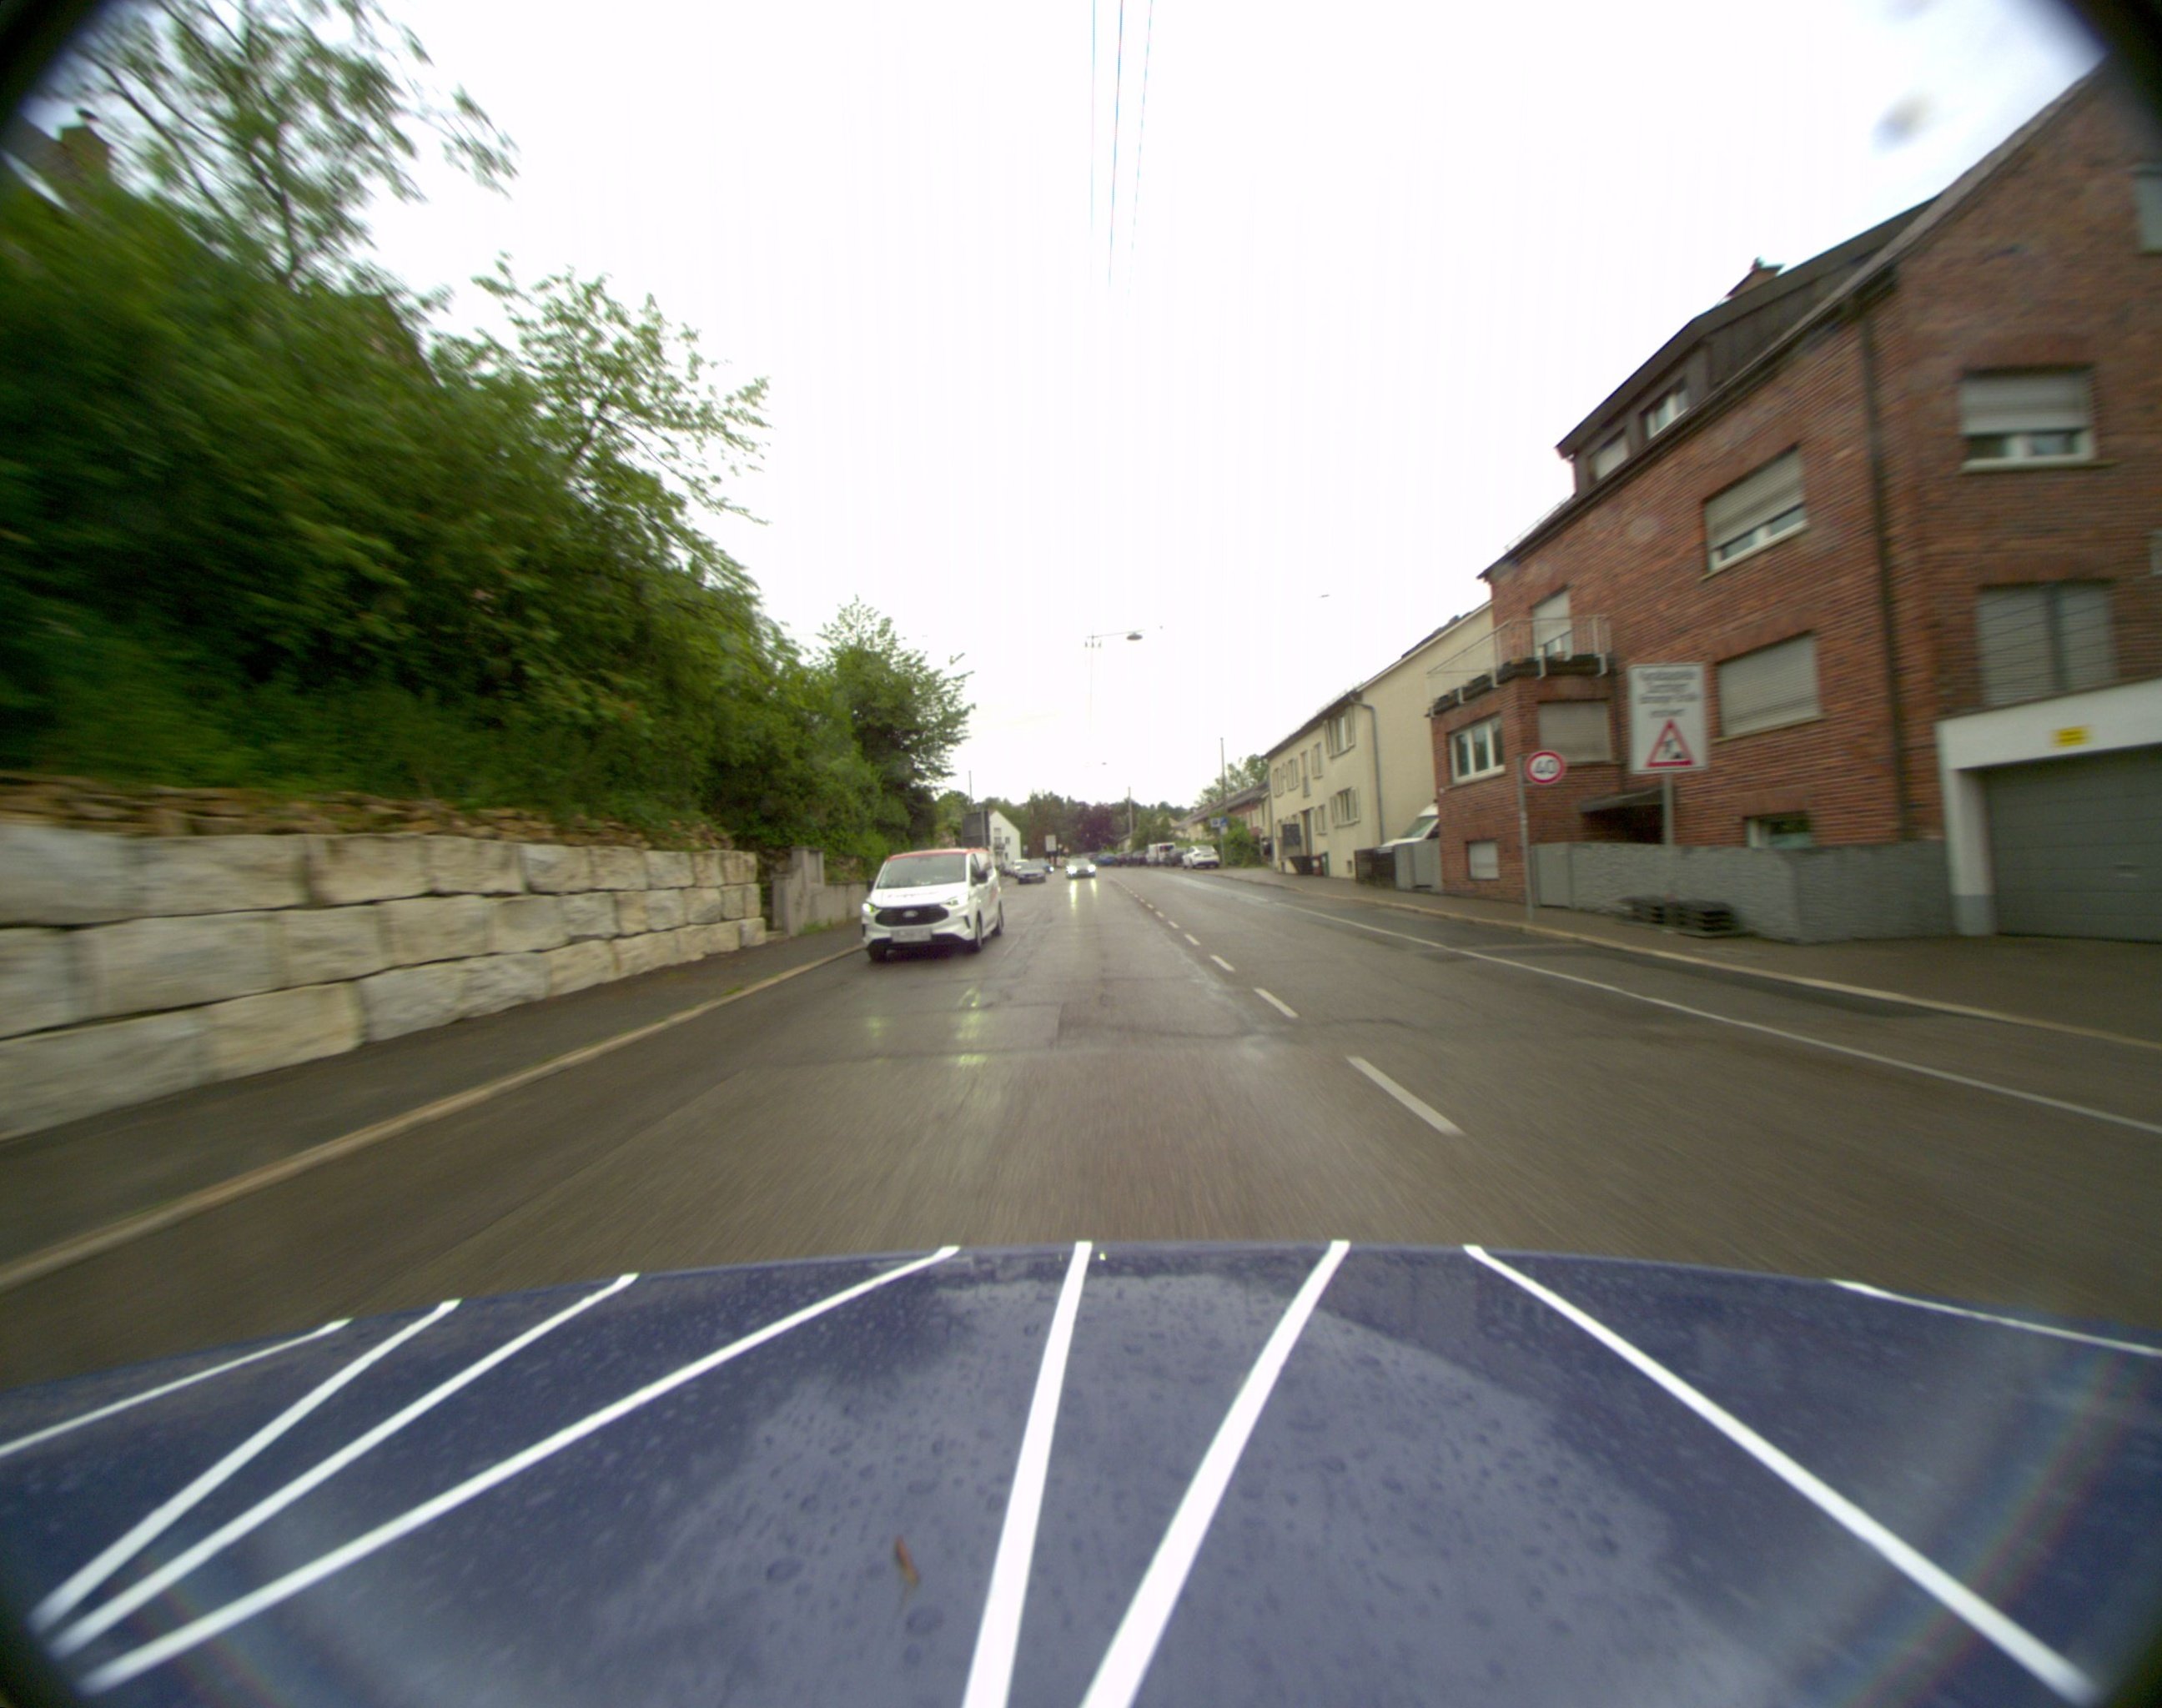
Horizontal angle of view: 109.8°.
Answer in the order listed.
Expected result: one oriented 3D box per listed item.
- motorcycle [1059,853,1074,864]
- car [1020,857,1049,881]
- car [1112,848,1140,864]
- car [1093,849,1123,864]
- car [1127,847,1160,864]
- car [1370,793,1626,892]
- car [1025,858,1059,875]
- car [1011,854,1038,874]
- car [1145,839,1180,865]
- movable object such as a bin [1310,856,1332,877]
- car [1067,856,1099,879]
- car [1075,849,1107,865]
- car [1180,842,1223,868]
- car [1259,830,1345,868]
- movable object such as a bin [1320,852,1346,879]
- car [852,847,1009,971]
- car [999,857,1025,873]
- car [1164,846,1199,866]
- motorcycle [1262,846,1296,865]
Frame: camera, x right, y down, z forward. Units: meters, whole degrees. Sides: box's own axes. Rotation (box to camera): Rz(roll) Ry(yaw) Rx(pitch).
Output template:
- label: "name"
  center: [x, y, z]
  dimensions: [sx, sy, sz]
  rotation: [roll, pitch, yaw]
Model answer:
- label: "motorcycle"
  center: [-1.780, 0.591, 95.539]
  dimensions: [1.809, 1.272, 0.510]
  rotation: [-3, 0, -27]
- label: "car"
  center: [-3.246, 1.005, 53.878]
  dimensions: [1.794, 1.487, 4.704]
  rotation: [-4, 0, -2]
- label: "car"
  center: [4.653, 0.204, 79.161]
  dimensions: [1.814, 1.468, 4.518]
  rotation: [-4, 0, -11]
- label: "car"
  center: [2.977, 0.332, 84.295]
  dimensions: [1.706, 1.396, 4.466]
  rotation: [-5, 0, -21]
- label: "car"
  center: [6.010, 0.192, 73.813]
  dimensions: [1.814, 1.468, 4.517]
  rotation: [-4, 0, -14]
- label: "car"
  center: [12.808, -0.372, 23.662]
  dimensions: [6.670, 2.539, 2.167]
  rotation: [-3, 2, 1]
- label: "car"
  center: [-4.002, 1.295, 77.677]
  dimensions: [2.168, 1.560, 4.698]
  rotation: [-4, 0, -20]
- label: "car"
  center: [-5.190, 0.890, 69.130]
  dimensions: [1.809, 1.639, 4.206]
  rotation: [-3, 0, -13]
- label: "car"
  center: [7.262, -0.173, 68.142]
  dimensions: [1.854, 2.067, 5.017]
  rotation: [-4, 0, -8]
- label: "movable object such as a bin"
  center: [10.331, 0.544, 32.735]
  dimensions: [0.675, 0.854, 0.708]
  rotation: [-4, 1, 1]
- label: "car"
  center: [0.127, 0.937, 56.834]
  dimensions: [2.165, 1.487, 4.704]
  rotation: [-4, 0, -2]
- label: "car"
  center: [1.192, 0.354, 89.104]
  dimensions: [1.930, 1.568, 4.379]
  rotation: [-5, 0, -25]
- label: "car"
  center: [8.493, 0.062, 53.845]
  dimensions: [1.934, 1.621, 4.676]
  rotation: [-4, 1, -3]
- label: "car"
  center: [13.216, -0.295, 45.606]
  dimensions: [4.500, 2.001, 1.888]
  rotation: [-3, -1, -3]
- label: "movable object such as a bin"
  center: [10.278, 0.478, 30.986]
  dimensions: [0.783, 1.040, 0.738]
  rotation: [-4, 1, 1]
- label: "car"
  center: [-2.709, 0.913, 14.886]
  dimensions: [2.042, 1.927, 4.515]
  rotation: [-4, 0, 0]
- label: "car"
  center: [-6.838, 1.095, 75.072]
  dimensions: [1.685, 1.475, 4.195]
  rotation: [-4, 1, -17]
- label: "car"
  center: [8.144, 0.167, 61.829]
  dimensions: [1.813, 1.468, 4.520]
  rotation: [-4, 0, -4]
- label: "motorcycle"
  center: [13.368, 0.093, 51.322]
  dimensions: [2.098, 1.128, 0.840]
  rotation: [-4, 2, 4]
